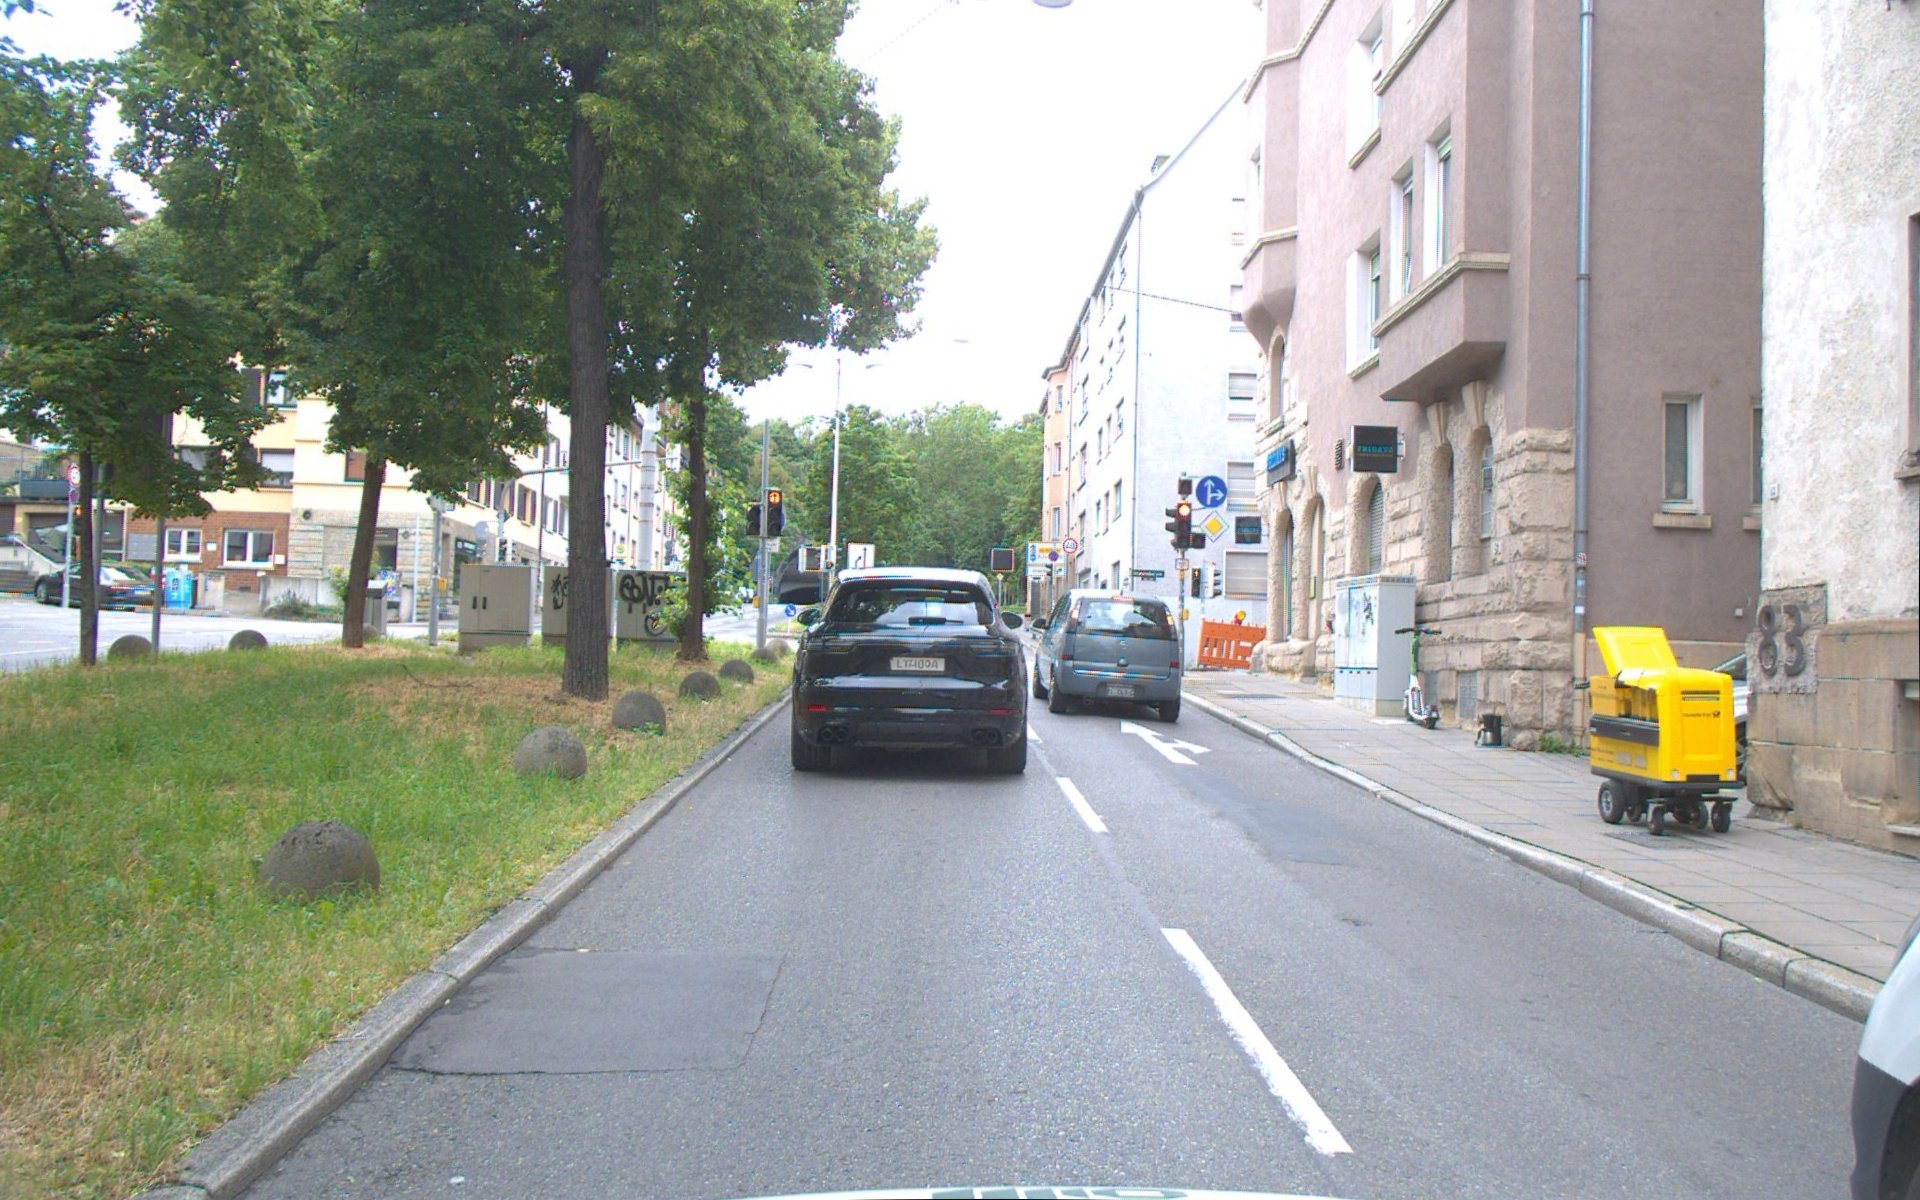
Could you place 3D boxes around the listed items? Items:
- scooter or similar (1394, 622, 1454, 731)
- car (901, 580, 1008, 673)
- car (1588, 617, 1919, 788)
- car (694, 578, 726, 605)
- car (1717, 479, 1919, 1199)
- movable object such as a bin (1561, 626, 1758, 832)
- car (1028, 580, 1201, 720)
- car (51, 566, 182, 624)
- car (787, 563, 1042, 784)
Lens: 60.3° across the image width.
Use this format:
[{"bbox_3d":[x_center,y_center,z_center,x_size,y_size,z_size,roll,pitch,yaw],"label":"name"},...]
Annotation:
[{"bbox_3d":[5.580,0.898,19.924,0.392,1.209,1.355,0,2,3],"label":"scooter or similar"},{"bbox_3d":[-0.114,0.489,32.349,1.953,1.682,3.999,1,0,-1],"label":"car"},{"bbox_3d":[8.545,0.999,16.410,3.906,1.427,1.800,2,2,-1],"label":"car"},{"bbox_3d":[-17.719,-0.601,117.359,1.758,1.841,3.998,2,0,-3],"label":"car"},{"bbox_3d":[2.809,0.680,1.806,1.811,1.857,5.022,3,-1,3],"label":"car"},{"bbox_3d":[5.251,0.924,12.526,0.705,1.446,1.692,1,-1,-3],"label":"movable object such as a bin"},{"bbox_3d":[1.992,0.607,22.324,1.717,1.621,3.628,4,0,-3],"label":"car"},{"bbox_3d":[-26.268,-0.153,51.478,3.915,1.694,1.877,1,-2,32],"label":"car"},{"bbox_3d":[-0.365,0.543,14.778,1.953,1.681,4.000,1,1,-1],"label":"car"}]
